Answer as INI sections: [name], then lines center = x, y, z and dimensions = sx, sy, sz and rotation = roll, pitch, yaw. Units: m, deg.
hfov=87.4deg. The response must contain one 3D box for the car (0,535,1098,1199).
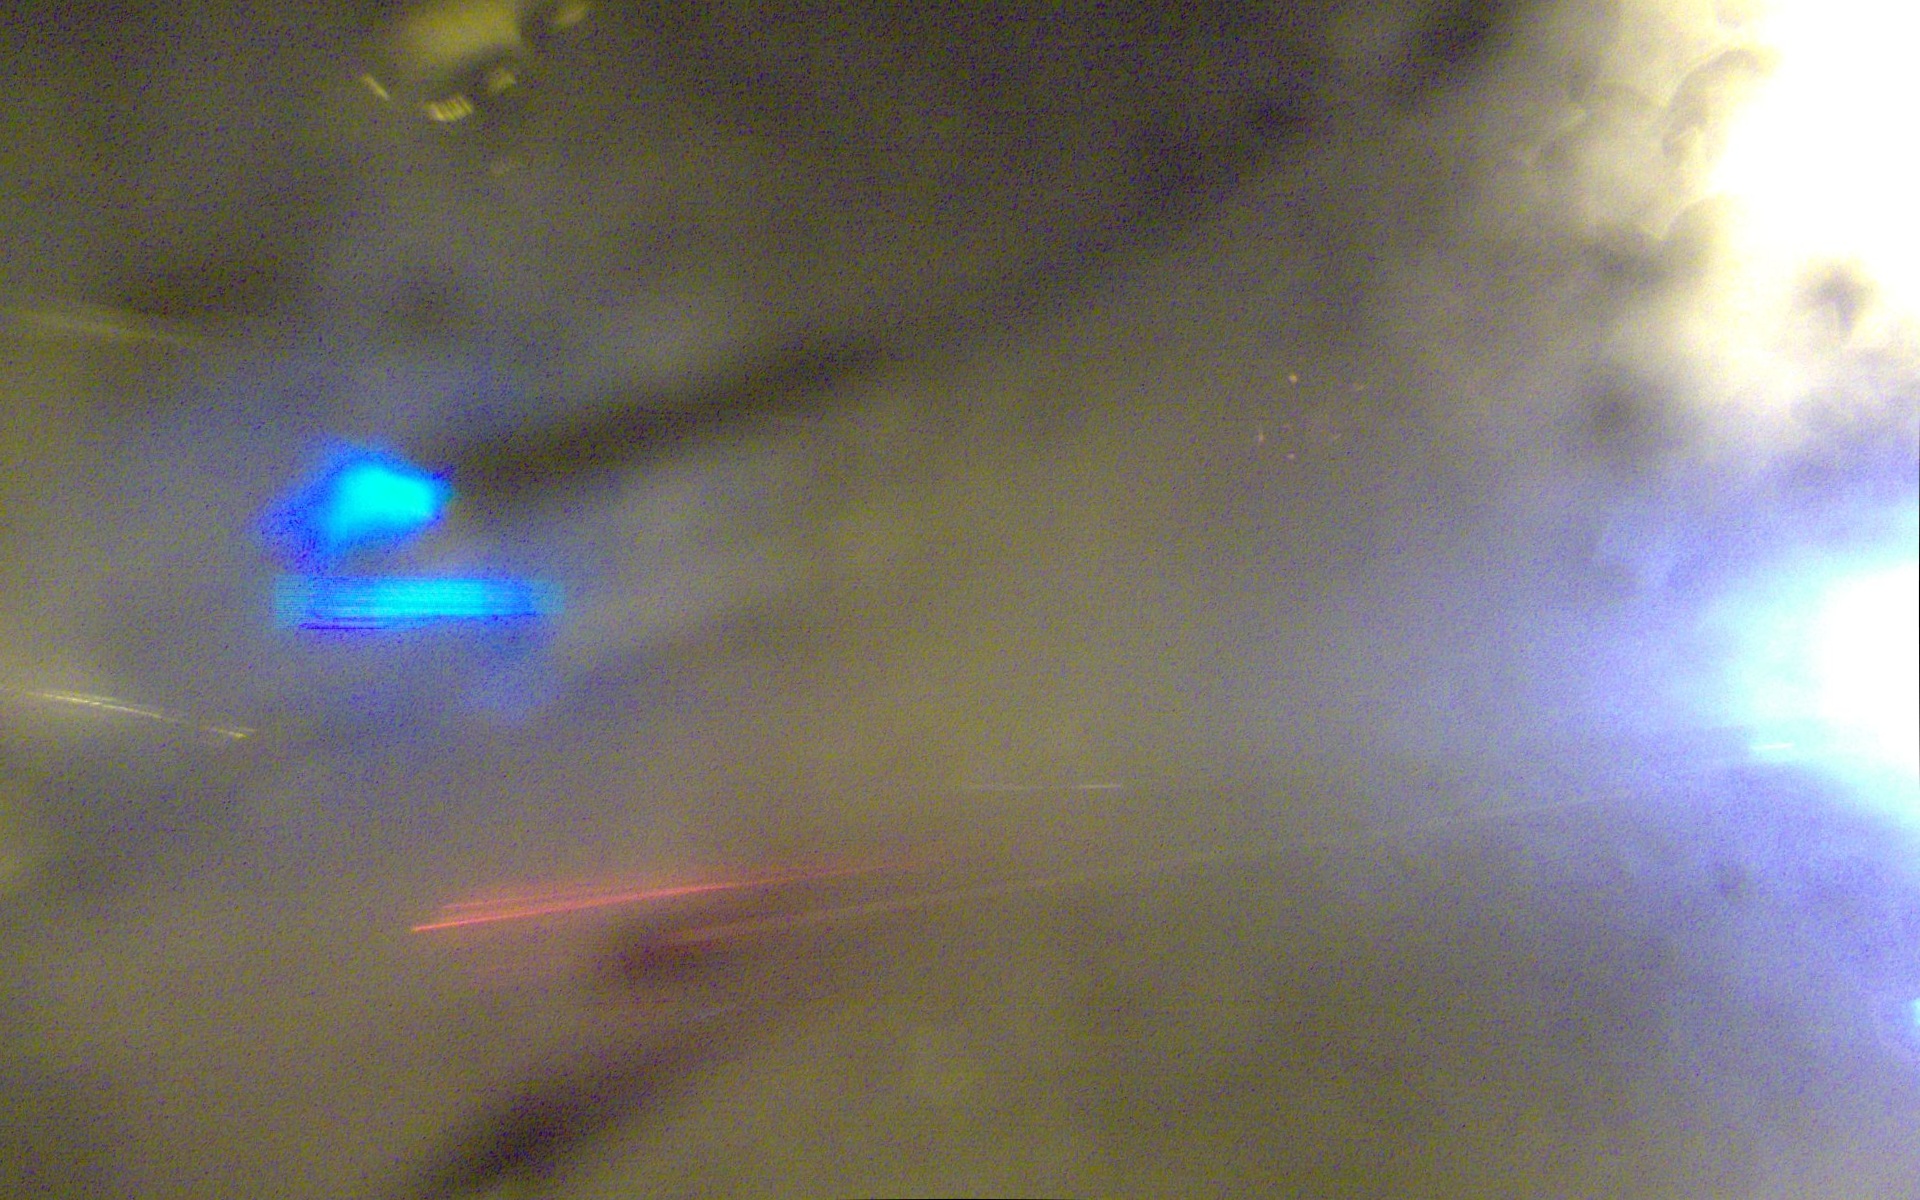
[car]
center = -1.611, 0.667, 2.234
dimensions = 3.533, 1.481, 1.702
rotation = 1, -1, -30
